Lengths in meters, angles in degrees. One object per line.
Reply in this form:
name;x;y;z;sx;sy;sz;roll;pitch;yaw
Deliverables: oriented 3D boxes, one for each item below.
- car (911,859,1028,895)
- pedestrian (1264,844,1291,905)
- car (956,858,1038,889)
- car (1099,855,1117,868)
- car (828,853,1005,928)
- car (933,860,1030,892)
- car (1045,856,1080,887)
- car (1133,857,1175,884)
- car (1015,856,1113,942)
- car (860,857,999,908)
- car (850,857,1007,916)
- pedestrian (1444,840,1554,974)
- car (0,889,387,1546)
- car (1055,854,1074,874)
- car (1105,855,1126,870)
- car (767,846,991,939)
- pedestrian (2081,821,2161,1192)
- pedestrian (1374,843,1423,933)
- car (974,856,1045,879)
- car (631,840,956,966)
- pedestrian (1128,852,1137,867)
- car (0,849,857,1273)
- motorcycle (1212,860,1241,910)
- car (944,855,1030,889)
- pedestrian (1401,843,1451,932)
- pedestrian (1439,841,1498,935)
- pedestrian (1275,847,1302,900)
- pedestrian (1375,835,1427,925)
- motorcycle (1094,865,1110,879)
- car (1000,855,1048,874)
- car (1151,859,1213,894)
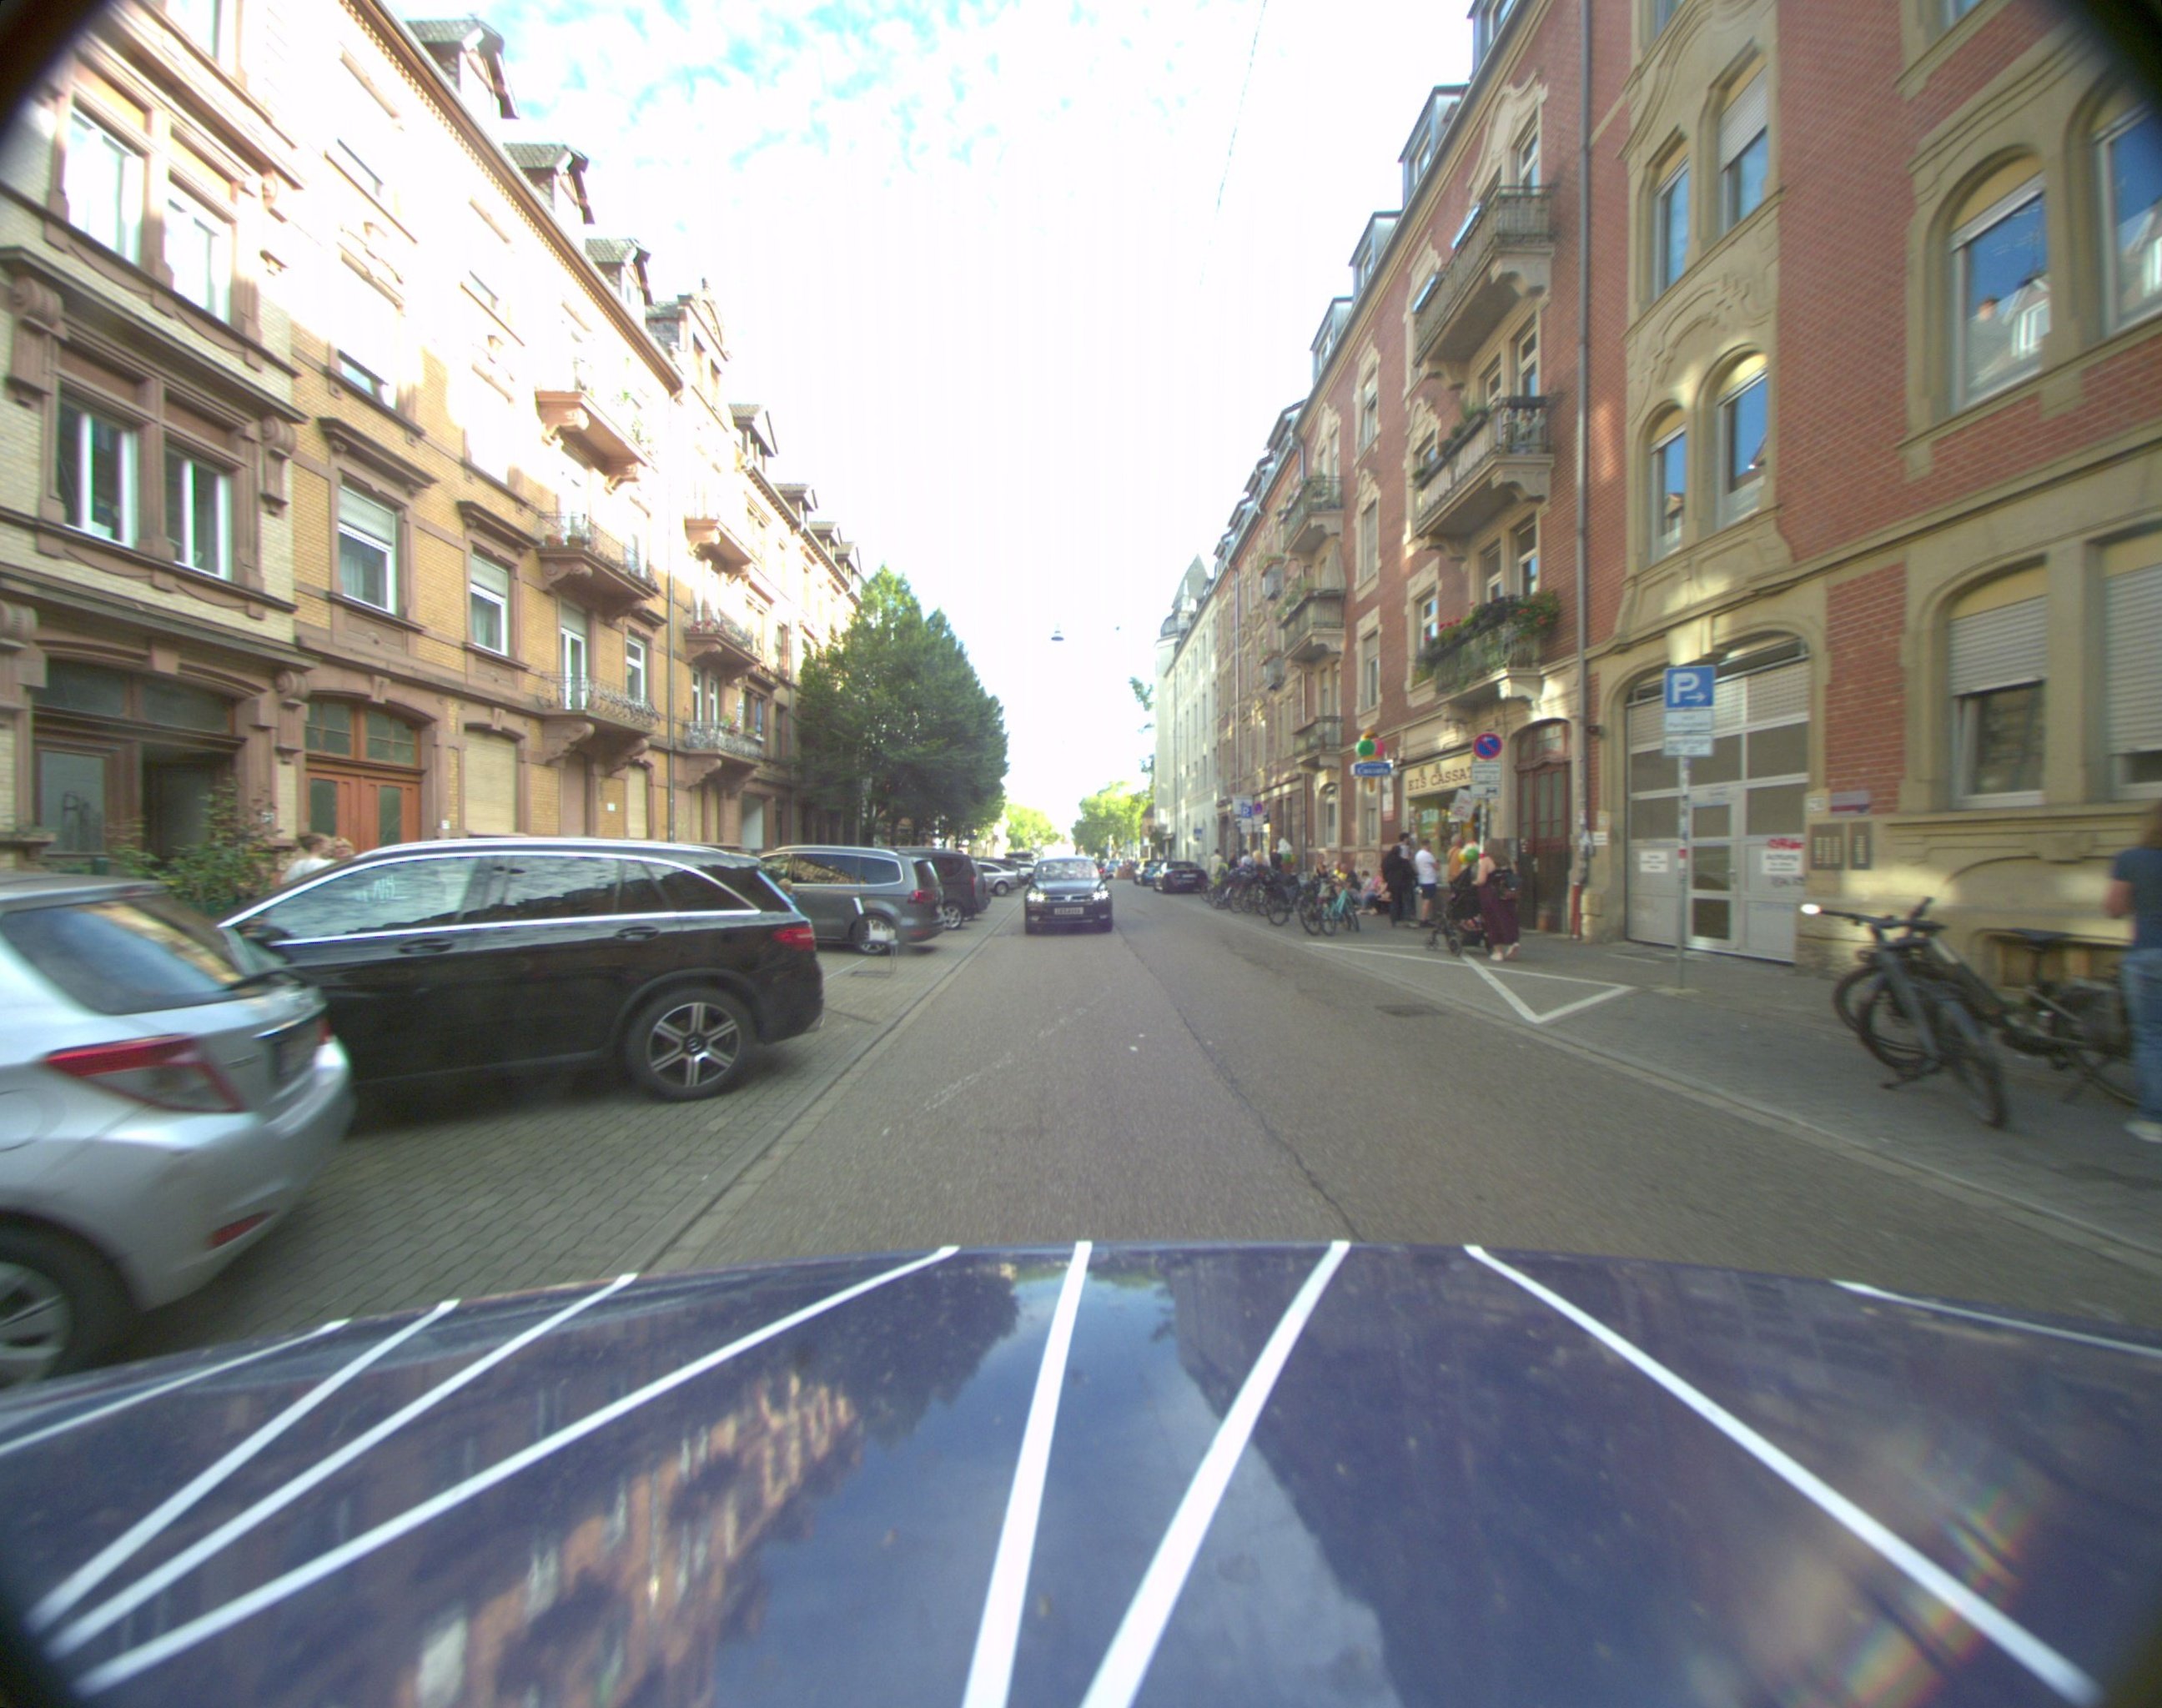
car;-4.763;0.985;32.767;4.621;1.443;1.788;2;0;-33
pedestrian;6.209;0.630;23.943;0.646;1.881;0.602;-1;1;29
car;-4.587;1.049;41.881;4.133;1.512;1.840;-2;1;-38
car;3.250;0.886;91.699;1.911;1.412;3.999;-2;0;-1
car;-4.163;0.878;19.388;4.007;1.730;1.835;1;0;-32
car;-4.701;1.014;36.119;4.146;1.409;1.864;0;-1;-36
car;-1.034;0.992;44.074;1.811;1.622;4.000;-2;0;0
car;4.053;0.899;42.819;1.674;1.407;4.010;-2;0;-5
car;-0.243;0.905;17.278;1.874;1.644;4.387;-2;0;3
car;-4.876;0.936;24.616;4.008;1.442;1.731;3;0;-33
car;-4.360;0.922;21.962;4.009;1.539;1.864;2;-1;-38
pedestrian;5.474;0.661;9.993;0.914;1.651;0.827;-2;0;-9
car;-4.501;0.940;1.623;4.245;1.540;1.868;-1;-1;-36
car;-1.644;0.976;78.236;1.811;1.914;4.000;-2;0;0
car;3.570;0.881;79.262;1.828;1.477;4.169;-2;0;-1
car;-4.377;0.794;16.736;4.412;1.812;1.750;2;0;-33
pedestrian;5.232;0.690;3.540;0.566;1.699;0.666;-2;1;-36
pedestrian;6.172;0.649;14.760;0.566;1.686;0.645;-2;1;-38
car;-5.163;0.994;55.328;4.817;1.535;1.866;2;0;-33
car;-4.570;0.772;12.643;4.649;1.774;1.809;2;0;-2
pedestrian;5.739;0.614;84.588;0.845;1.699;0.879;-2;1;-1
car;-3.956;0.870;4.738;4.466;1.722;1.995;-1;0;-36
motorcycle;4.270;0.875;22.158;0.708;1.376;2.026;-2;0;13
car;-4.820;0.904;39.045;4.008;1.689;1.848;0;-1;-36
pedestrian;6.766;0.641;14.910;0.667;1.686;0.584;-2;1;-32
pedestrian;7.217;0.619;14.178;0.665;1.686;0.763;-2;0;-1
pedestrian;6.953;0.640;25.450;0.688;1.749;0.667;-1;1;29
pedestrian;6.814;0.541;16.173;0.764;1.843;0.664;-2;1;-32
motorcycle;1.579;1.353;57.610;0.796;0.989;2.498;-2;0;-8
car;-5.352;1.010;71.730;4.006;1.663;1.922;-2;0;-33
car;4.262;0.918;32.959;1.817;1.343;5.114;-1;0;-2
